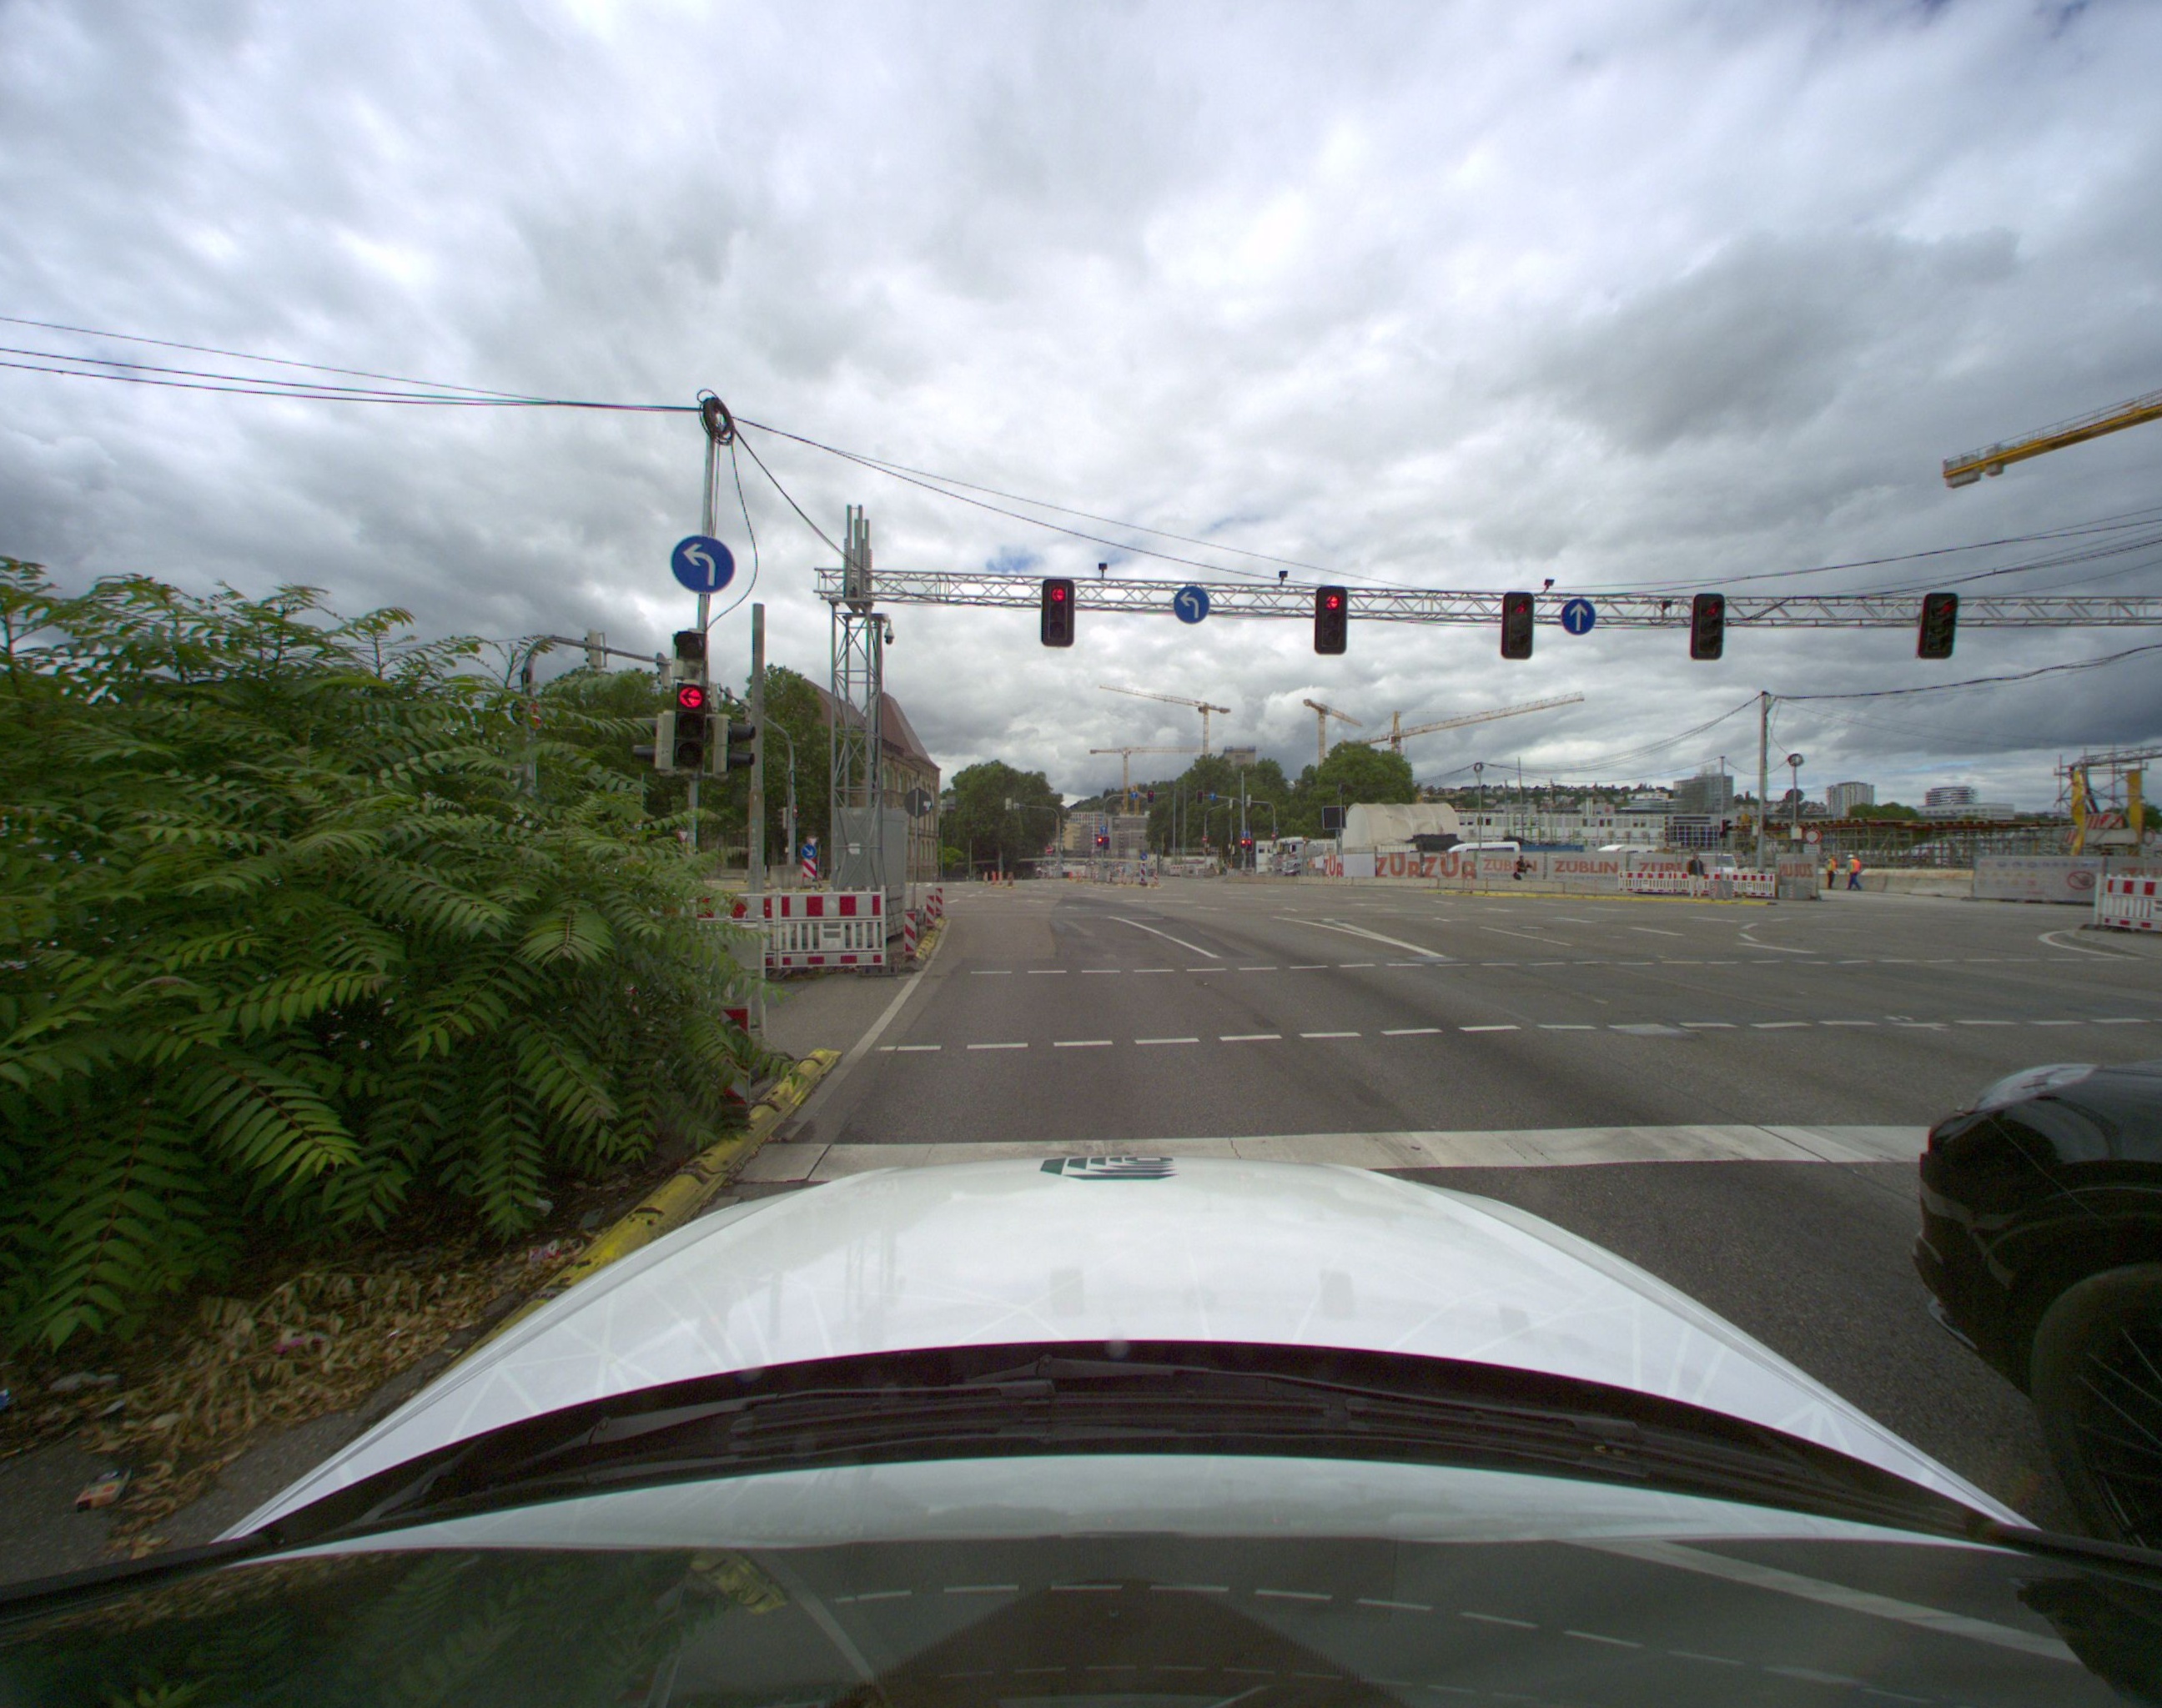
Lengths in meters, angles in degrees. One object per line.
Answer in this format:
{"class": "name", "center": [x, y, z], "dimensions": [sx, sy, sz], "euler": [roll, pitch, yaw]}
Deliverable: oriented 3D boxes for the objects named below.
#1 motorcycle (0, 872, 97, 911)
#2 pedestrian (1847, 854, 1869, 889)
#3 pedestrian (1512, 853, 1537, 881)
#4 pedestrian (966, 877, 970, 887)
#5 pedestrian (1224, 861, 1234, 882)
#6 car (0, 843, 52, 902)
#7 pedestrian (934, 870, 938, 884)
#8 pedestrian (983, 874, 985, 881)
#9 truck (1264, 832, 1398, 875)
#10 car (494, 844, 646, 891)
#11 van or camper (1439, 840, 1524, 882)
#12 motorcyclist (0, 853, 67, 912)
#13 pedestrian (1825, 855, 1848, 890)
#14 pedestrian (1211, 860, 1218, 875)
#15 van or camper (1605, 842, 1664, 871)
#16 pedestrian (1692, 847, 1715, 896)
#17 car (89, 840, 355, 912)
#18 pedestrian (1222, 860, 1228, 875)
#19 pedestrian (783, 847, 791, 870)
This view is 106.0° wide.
{"class": "motorcycle", "center": [-25.480, 0.902, 19.808], "dimensions": [2.051, 0.924, 0.756], "euler": [0, 0, -4]}
{"class": "pedestrian", "center": [38.974, 0.860, 40.840], "dimensions": [0.651, 1.717, 0.516], "euler": [0, 0, -9]}
{"class": "pedestrian", "center": [21.911, 0.624, 40.239], "dimensions": [0.893, 1.378, 0.804], "euler": [0, 0, 45]}
{"class": "pedestrian", "center": [-21.441, 5.325, 154.632], "dimensions": [0.522, 2.014, 0.567], "euler": [0, 0, 2]}
{"class": "pedestrian", "center": [12.243, 1.426, 67.332], "dimensions": [0.726, 1.689, 0.678], "euler": [0, 0, 1]}
{"class": "car", "center": [-32.968, 0.510, 23.298], "dimensions": [4.302, 1.676, 1.998], "euler": [0, 0, -3]}
{"class": "pedestrian", "center": [-21.167, 3.407, 118.959], "dimensions": [0.522, 2.014, 0.567], "euler": [0, 0, 2]}
{"class": "pedestrian", "center": [-21.033, 5.069, 176.629], "dimensions": [0.534, 1.592, 0.515], "euler": [0, 0, -2]}
{"class": "truck", "center": [25.030, -0.034, 81.584], "dimensions": [13.062, 4.041, 3.926], "euler": [0, 0, -18]}
{"class": "car", "center": [-18.827, 0.494, 30.245], "dimensions": [4.315, 1.676, 1.992], "euler": [0, 0, -12]}
{"class": "van or camper", "center": [23.143, 0.418, 47.198], "dimensions": [4.181, 2.357, 2.009], "euler": [0, 0, 16]}
{"class": "motorcyclist", "center": [-25.626, 0.682, 19.793], "dimensions": [0.963, 1.423, 0.745], "euler": [0, 0, -4]}
{"class": "pedestrian", "center": [38.821, 0.928, 41.851], "dimensions": [0.651, 1.795, 0.617], "euler": [0, 0, -9]}
{"class": "pedestrian", "center": [15.374, 1.502, 93.597], "dimensions": [0.726, 1.689, 0.678], "euler": [0, 0, 1]}
{"class": "van or camper", "center": [58.232, 0.278, 85.705], "dimensions": [5.282, 2.911, 1.993], "euler": [0, -1, -10]}
{"class": "pedestrian", "center": [25.757, 0.723, 33.696], "dimensions": [0.645, 2.013, 0.520], "euler": [0, 0, 27]}
{"class": "car", "center": [-21.187, 0.520, 20.257], "dimensions": [4.302, 1.676, 1.998], "euler": [0, 0, -3]}
{"class": "pedestrian", "center": [16.554, 1.561, 93.533], "dimensions": [0.564, 1.689, 0.472], "euler": [0, 0, 1]}
{"class": "pedestrian", "center": [-26.772, 0.410, 74.159], "dimensions": [0.530, 2.014, 0.423], "euler": [1, -1, -42]}
